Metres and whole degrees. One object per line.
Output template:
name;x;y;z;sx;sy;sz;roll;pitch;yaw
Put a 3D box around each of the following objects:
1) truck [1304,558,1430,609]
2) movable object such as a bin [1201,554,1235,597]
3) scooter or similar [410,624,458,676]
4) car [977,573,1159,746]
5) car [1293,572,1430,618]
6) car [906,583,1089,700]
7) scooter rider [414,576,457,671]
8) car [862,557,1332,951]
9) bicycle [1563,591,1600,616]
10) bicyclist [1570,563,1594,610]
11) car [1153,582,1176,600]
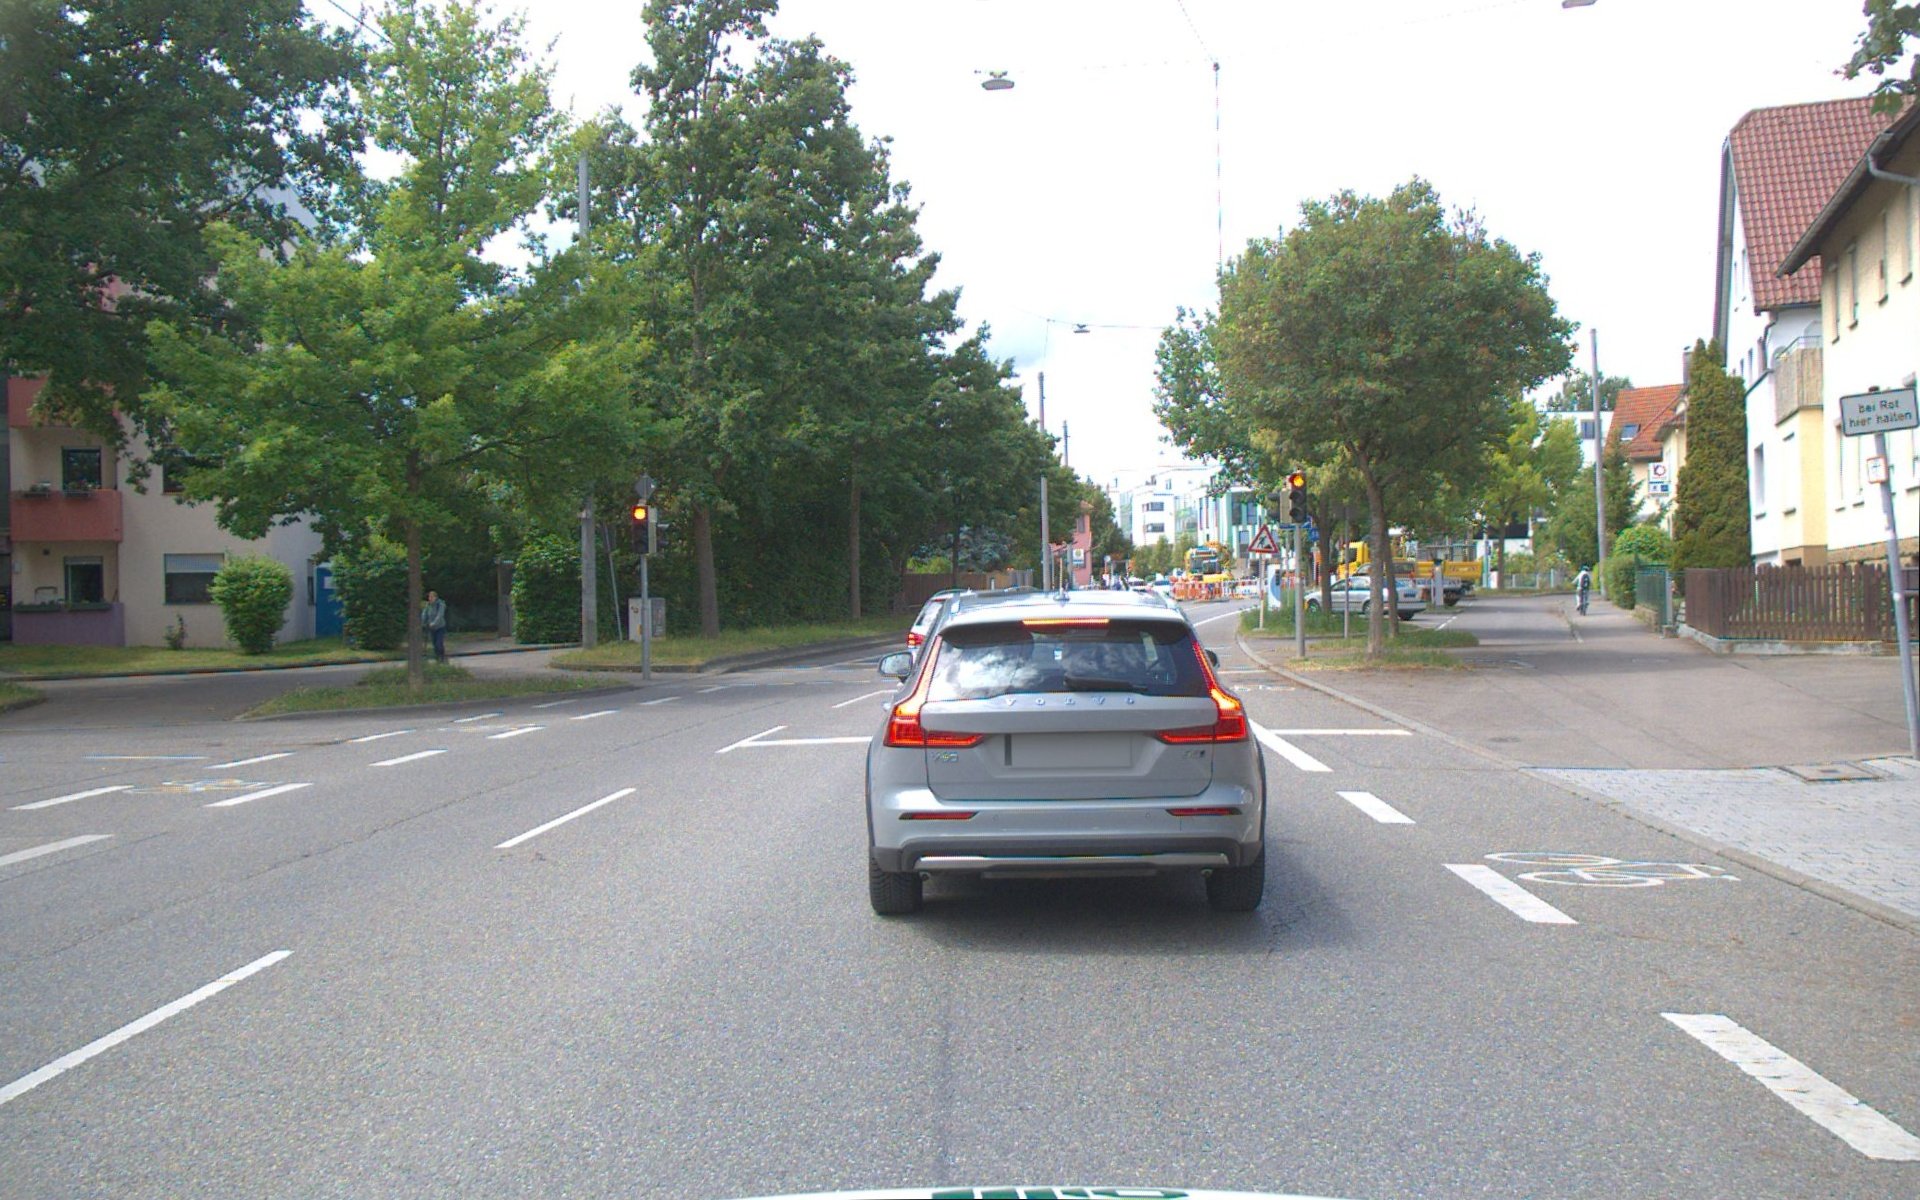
truck;17.319;-0.693;70.632;1.971;2.049;5.625;1;0;-28
movable object such as a bin;17.302;-1.655;110.739;1.991;2.689;5.945;-2;1;11
scooter or similar;-11.572;1.094;36.394;0.741;1.102;0.944;1;0;-1
car;1.063;0.546;16.879;1.626;1.534;3.703;1;0;3
car;13.494;-0.172;55.821;1.745;1.477;4.639;-1;1;-31
car;0.647;0.565;24.284;2.057;1.536;4.003;1;0;10
scooter rider;-11.535;0.507;36.402;0.662;2.049;0.794;1;-1;-1
car;0.532;0.635;8.706;1.889;1.567;3.999;1;0;-1
bicycle;21.193;0.130;56.401;0.582;0.826;1.753;1;0;-1
bicyclist;21.205;-0.456;56.403;0.577;1.586;0.566;1;-1;-1
car;17.582;-0.752;142.013;1.789;1.353;4.003;1;-1;9
